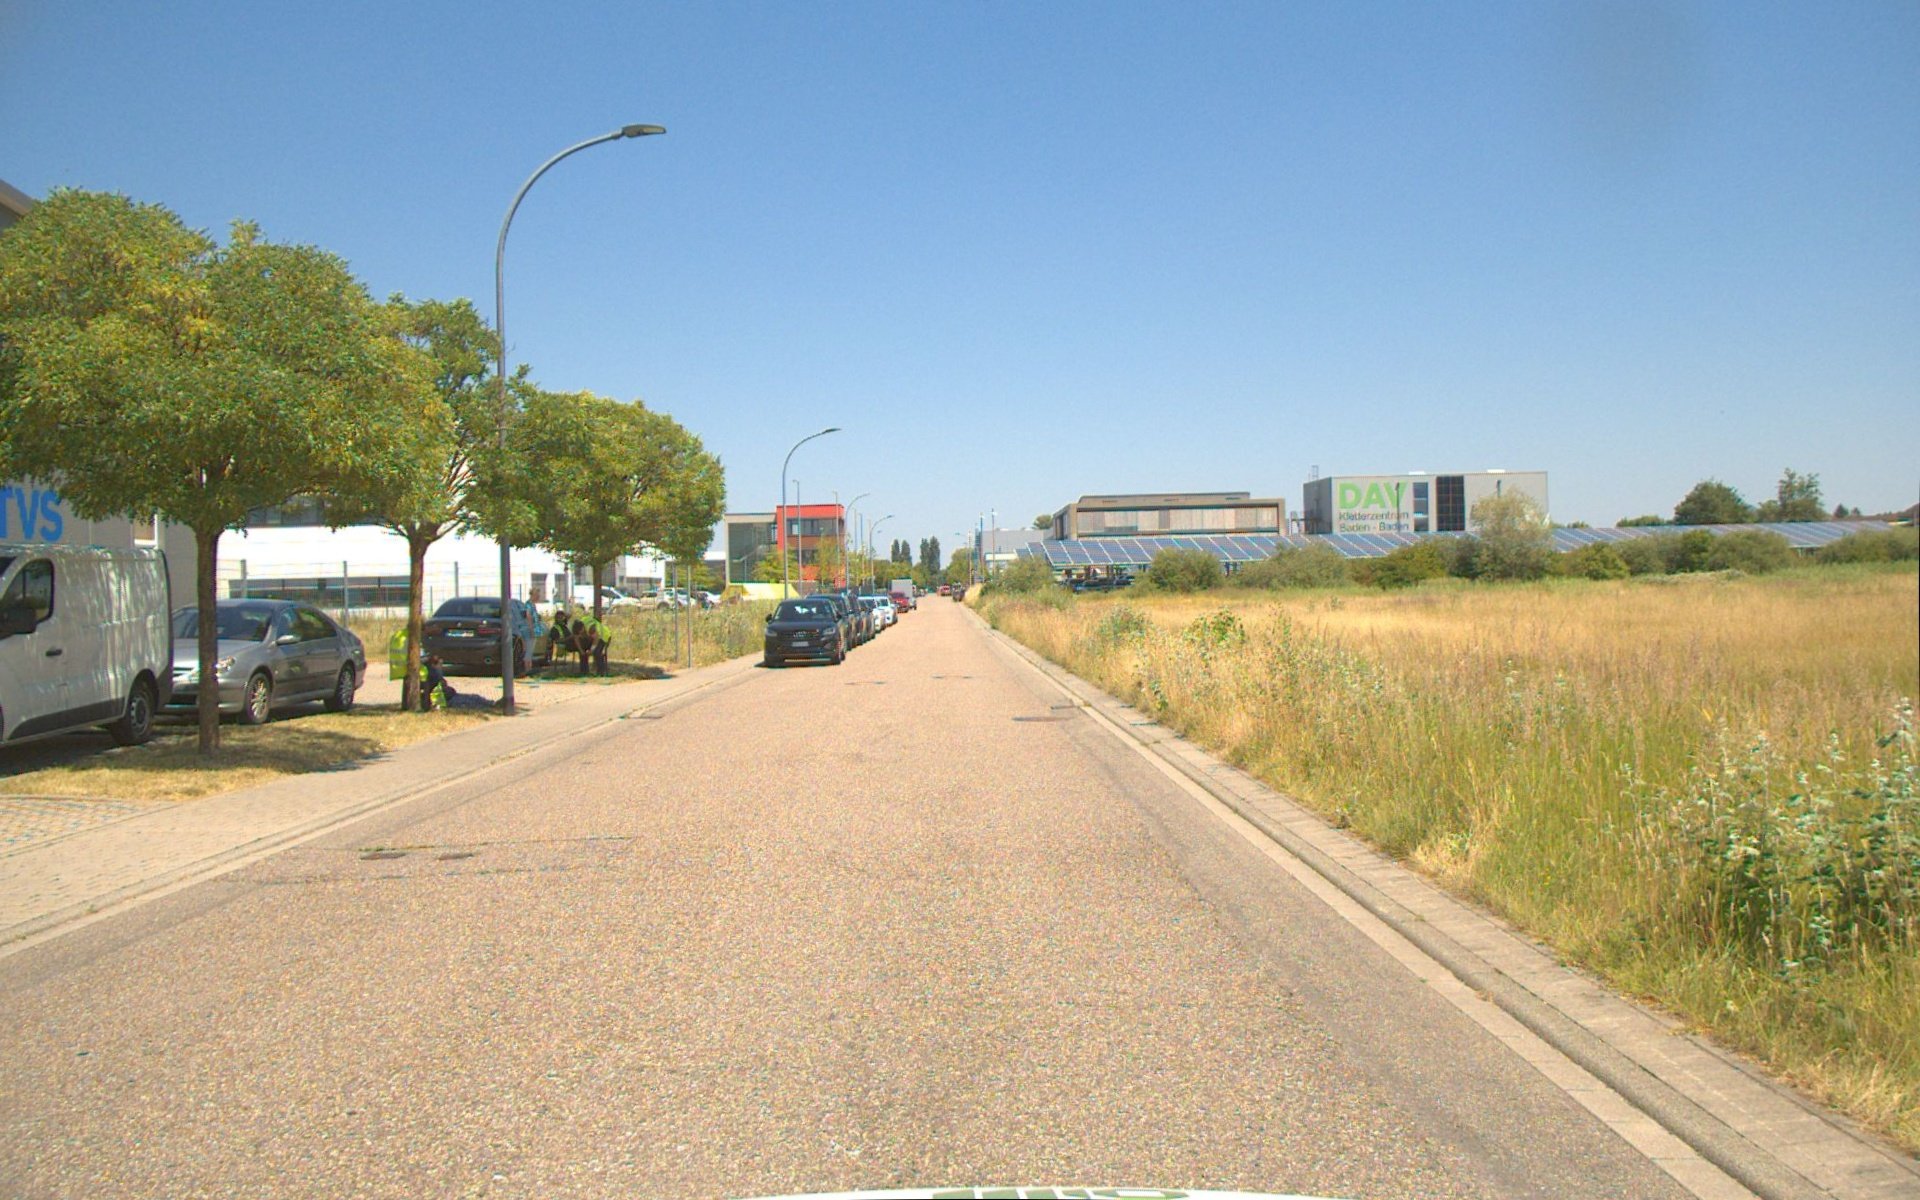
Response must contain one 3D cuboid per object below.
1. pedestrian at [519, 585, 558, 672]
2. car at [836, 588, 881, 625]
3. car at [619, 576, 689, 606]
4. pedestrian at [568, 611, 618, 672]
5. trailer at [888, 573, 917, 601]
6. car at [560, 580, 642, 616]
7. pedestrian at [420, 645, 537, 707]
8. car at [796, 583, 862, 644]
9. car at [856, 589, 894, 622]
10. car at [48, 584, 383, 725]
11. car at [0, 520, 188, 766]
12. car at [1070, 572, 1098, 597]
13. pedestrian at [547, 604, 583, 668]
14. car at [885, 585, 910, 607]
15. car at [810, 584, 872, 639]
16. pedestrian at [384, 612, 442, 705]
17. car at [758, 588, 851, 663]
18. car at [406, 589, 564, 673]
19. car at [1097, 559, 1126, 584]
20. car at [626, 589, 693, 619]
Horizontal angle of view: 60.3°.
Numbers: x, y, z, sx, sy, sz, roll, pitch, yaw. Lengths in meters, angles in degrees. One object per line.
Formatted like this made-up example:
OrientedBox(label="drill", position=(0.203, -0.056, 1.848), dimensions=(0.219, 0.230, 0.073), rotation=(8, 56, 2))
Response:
OrientedBox(label="pedestrian", position=(-7.981, 0.531, 31.348), dimensions=(0.495, 1.623, 0.753), rotation=(1, 0, 1))
OrientedBox(label="car", position=(-4.409, 0.255, 72.185), dimensions=(1.750, 1.547, 3.982), rotation=(-2, 0, -1))
OrientedBox(label="car", position=(-21.584, -0.632, 116.762), dimensions=(4.436, 1.977, 2.031), rotation=(-2, 0, -1))
OrientedBox(label="pedestrian", position=(-6.929, 0.783, 31.251), dimensions=(0.735, 1.118, 0.647), rotation=(1, 0, 3))
OrientedBox(label="trailer", position=(-4.620, -1.047, 133.207), dimensions=(2.156, 2.174, 4.285), rotation=(-2, 0, -1))
OrientedBox(label="car", position=(-21.591, -0.106, 99.630), dimensions=(4.436, 1.977, 2.031), rotation=(-2, 0, -1))
OrientedBox(label="pedestrian", position=(-6.515, 1.025, 22.414), dimensions=(1.330, 0.762, 0.753), rotation=(1, 0, 1))
OrientedBox(label="car", position=(-3.915, 0.355, 49.886), dimensions=(1.643, 1.692, 4.236), rotation=(-2, 1, -1))
OrientedBox(label="car", position=(-4.260, 0.267, 83.407), dimensions=(1.750, 1.547, 3.982), rotation=(-2, 1, -1))
OrientedBox(label="car", position=(-8.904, 0.619, 20.323), dimensions=(1.887, 1.466, 4.841), rotation=(-2, -1, 0))
OrientedBox(label="car", position=(-8.959, 0.333, 14.899), dimensions=(1.800, 2.054, 5.123), rotation=(1, 1, -3))
OrientedBox(label="car", position=(10.555, -1.341, 141.110), dimensions=(1.953, 2.049, 3.999), rotation=(-2, 0, -1))
OrientedBox(label="pedestrian", position=(-7.786, 0.702, 32.618), dimensions=(0.495, 1.212, 0.753), rotation=(1, 0, 1))
OrientedBox(label="car", position=(-4.584, -0.307, 121.689), dimensions=(1.750, 1.547, 3.982), rotation=(-2, 0, -1))
OrientedBox(label="car", position=(-3.937, 0.352, 55.256), dimensions=(1.733, 1.692, 4.551), rotation=(-2, 1, -1))
OrientedBox(label="pedestrian", position=(-7.052, 0.750, 21.333), dimensions=(0.468, 1.170, 0.555), rotation=(1, -2, 9))
OrientedBox(label="car", position=(-3.622, 0.556, 39.204), dimensions=(1.888, 1.594, 4.188), rotation=(-2, 1, -2))
OrientedBox(label="car", position=(-9.299, 0.554, 32.748), dimensions=(1.888, 1.490, 4.690), rotation=(1, 1, -2))
OrientedBox(label="car", position=(12.918, -2.390, 141.240), dimensions=(1.953, 2.049, 3.999), rotation=(-2, 0, -1))
OrientedBox(label="car", position=(-21.726, 0.302, 119.814), dimensions=(4.436, 1.977, 2.031), rotation=(-2, 0, -1))
